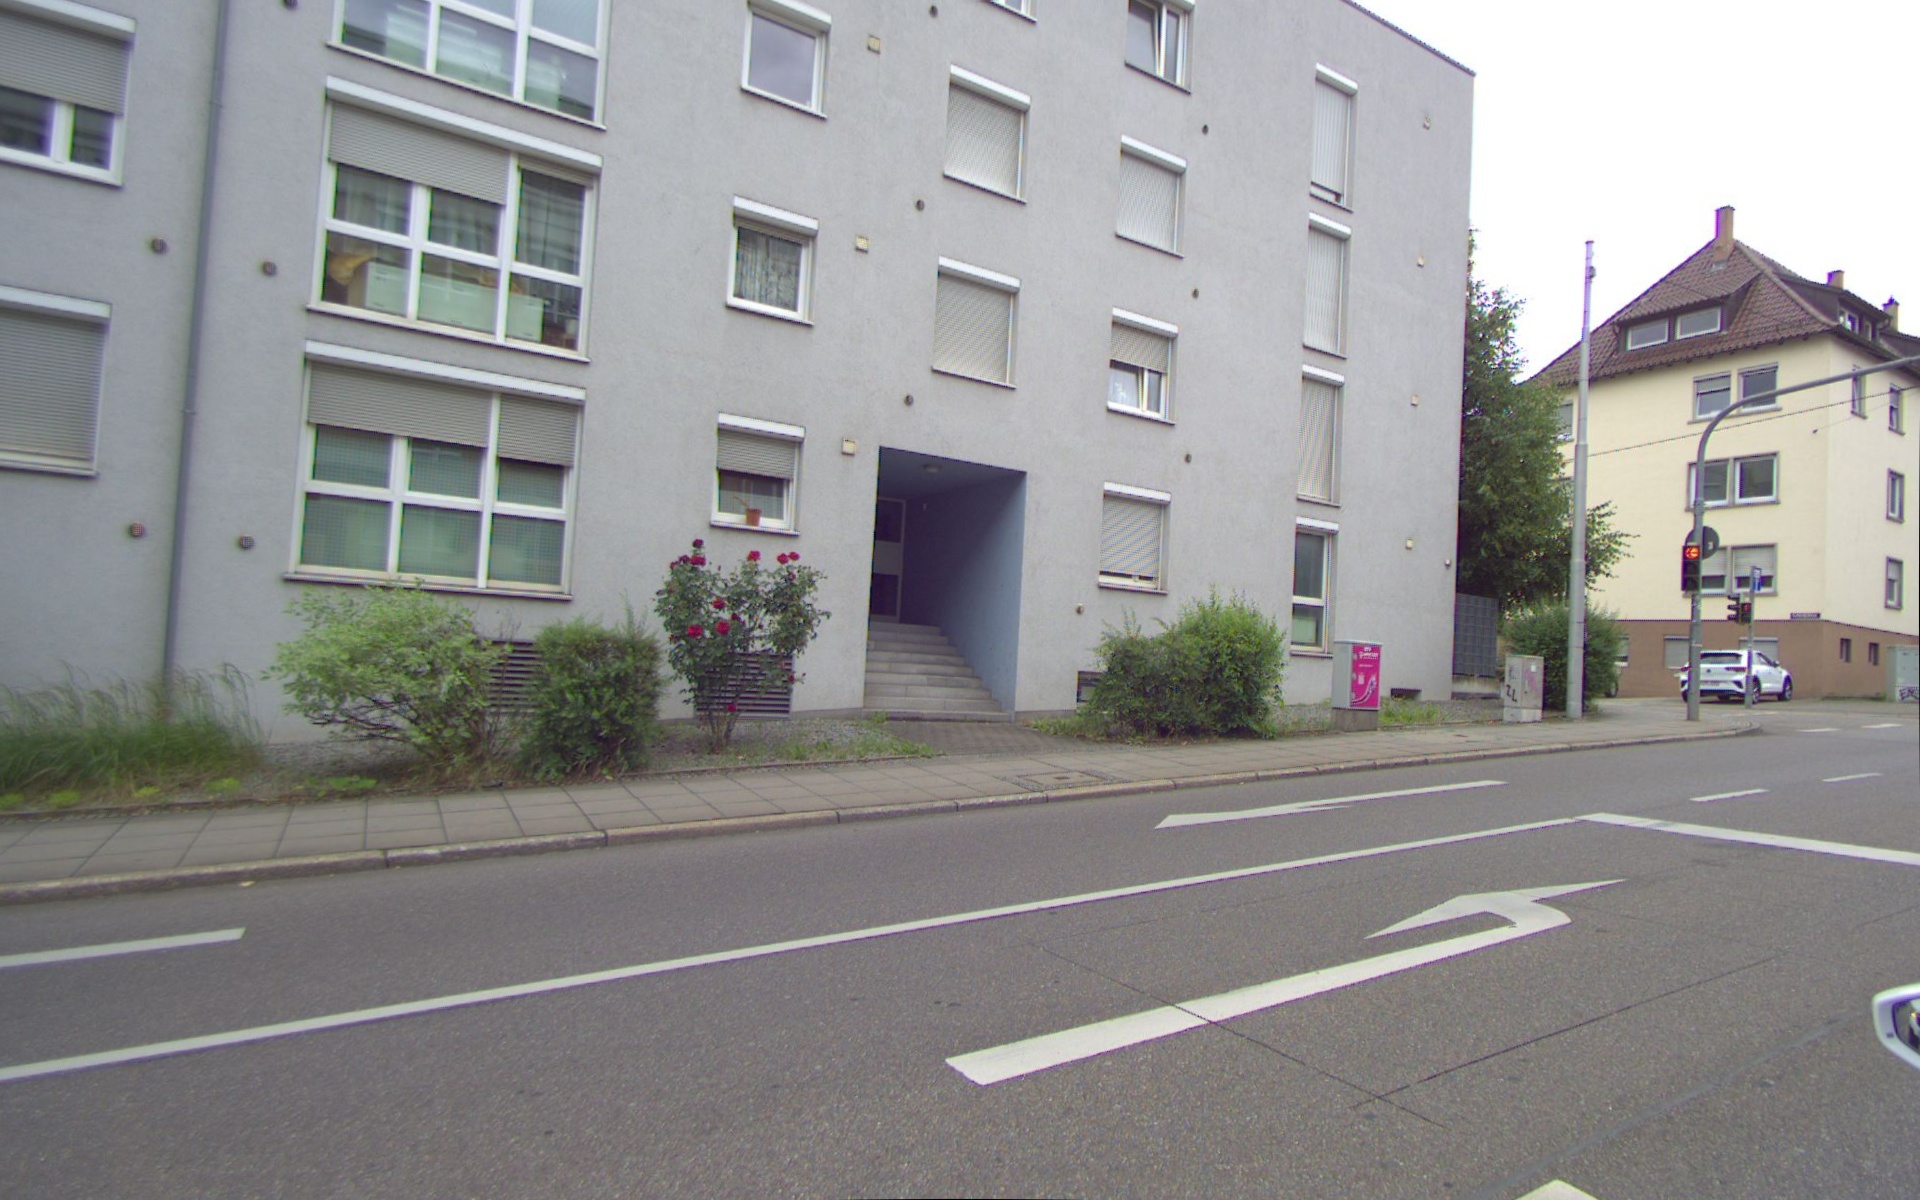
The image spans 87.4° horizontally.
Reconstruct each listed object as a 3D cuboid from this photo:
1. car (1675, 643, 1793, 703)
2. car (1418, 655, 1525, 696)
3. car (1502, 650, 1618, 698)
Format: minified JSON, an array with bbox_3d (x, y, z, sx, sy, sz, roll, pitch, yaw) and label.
[{"bbox_3d":[23.230,2.155,30.121,3.960,1.683,1.660,2,-4,-35],"label":"car"},{"bbox_3d":[18.861,2.740,37.017,3.953,1.380,1.662,2,-1,-30],"label":"car"},{"bbox_3d":[20.592,2.506,34.446,4.053,1.566,1.662,2,-4,-30],"label":"car"}]
